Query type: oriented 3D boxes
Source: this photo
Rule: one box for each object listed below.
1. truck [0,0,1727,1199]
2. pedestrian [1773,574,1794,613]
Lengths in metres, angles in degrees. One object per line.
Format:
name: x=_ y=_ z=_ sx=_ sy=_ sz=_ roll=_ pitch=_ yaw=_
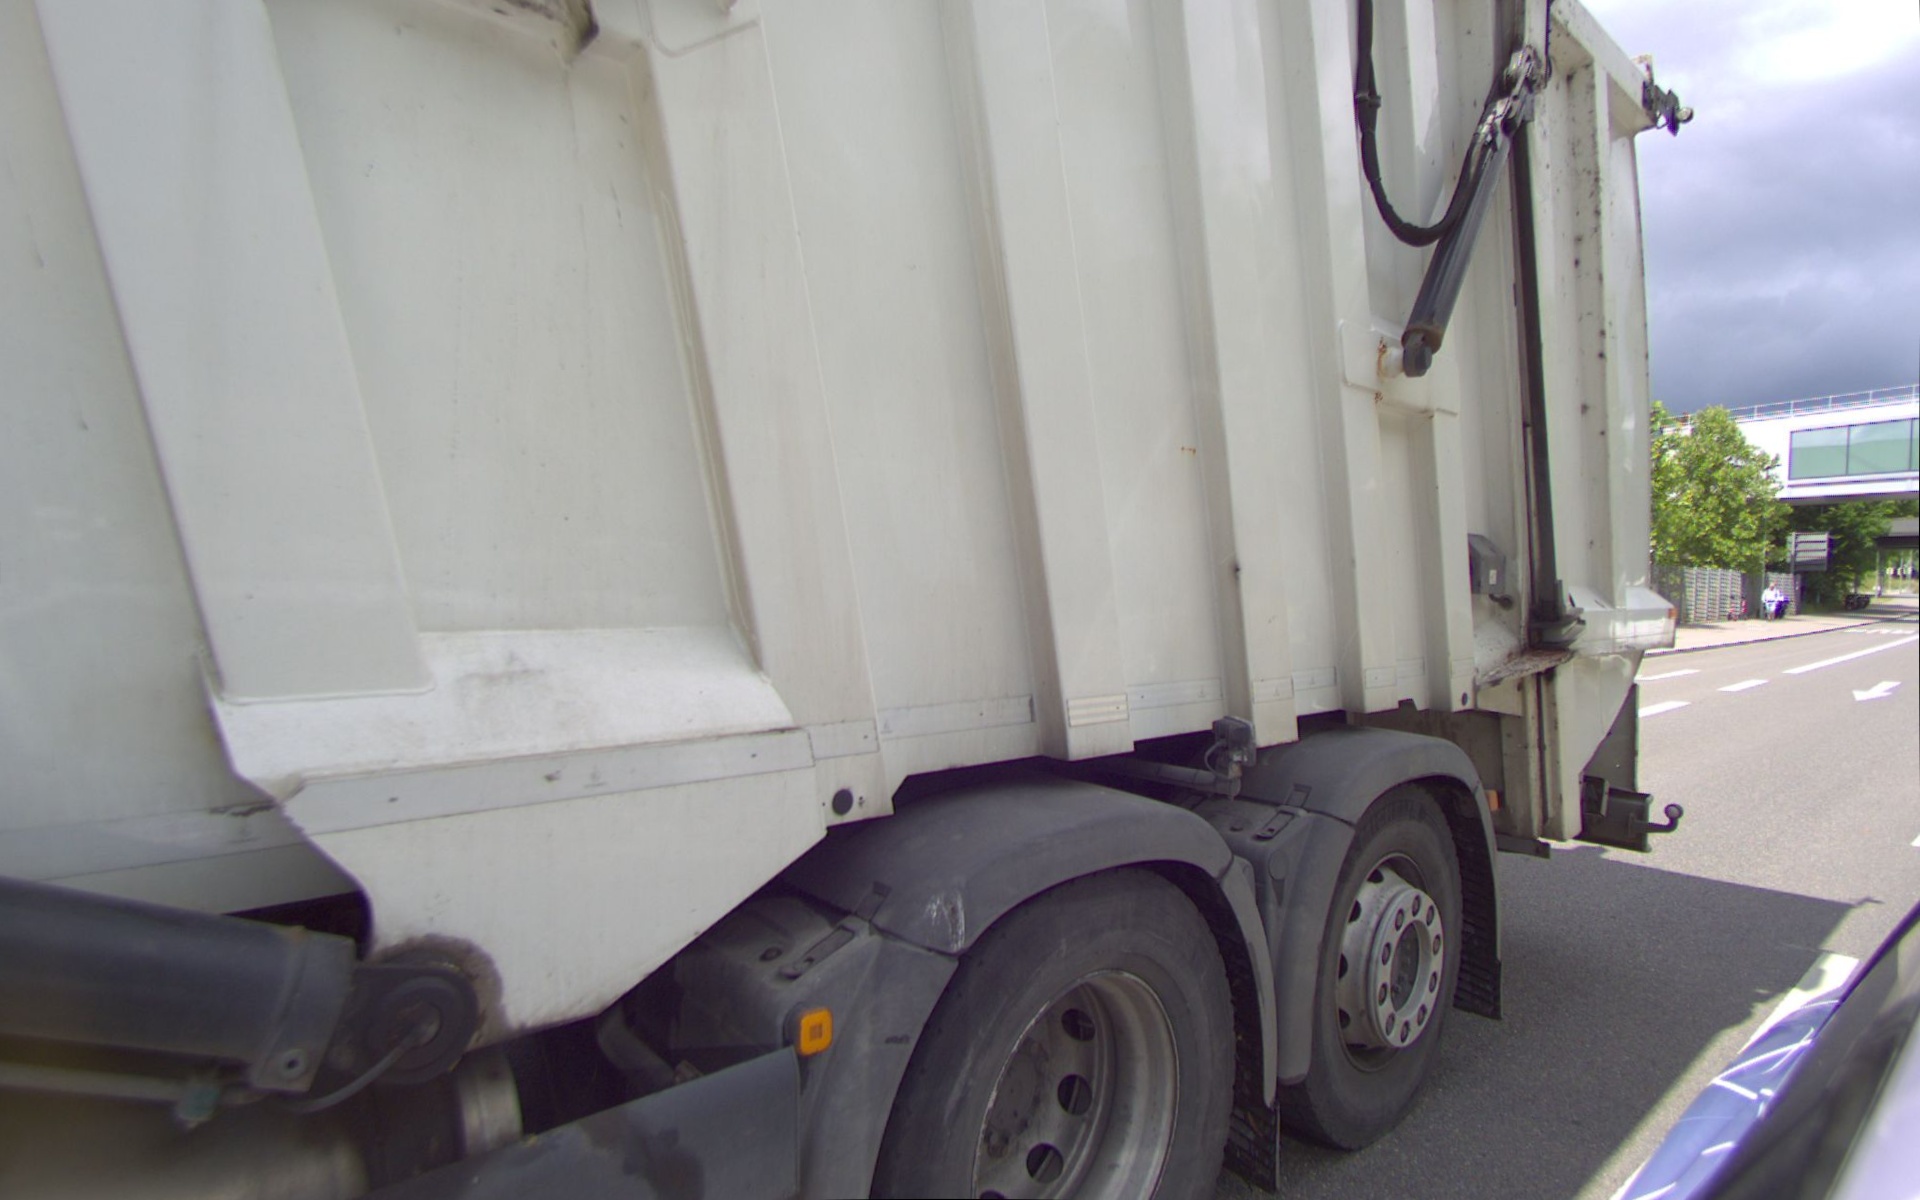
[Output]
truck: x=-0.855 y=-0.583 z=2.457 sx=9.999 sy=3.962 sz=2.492 roll=-1 pitch=0 yaw=-42
pedestrian: x=41.525 y=-0.313 z=51.026 sx=0.647 sy=1.936 sz=0.738 roll=0 pitch=0 yaw=-42
